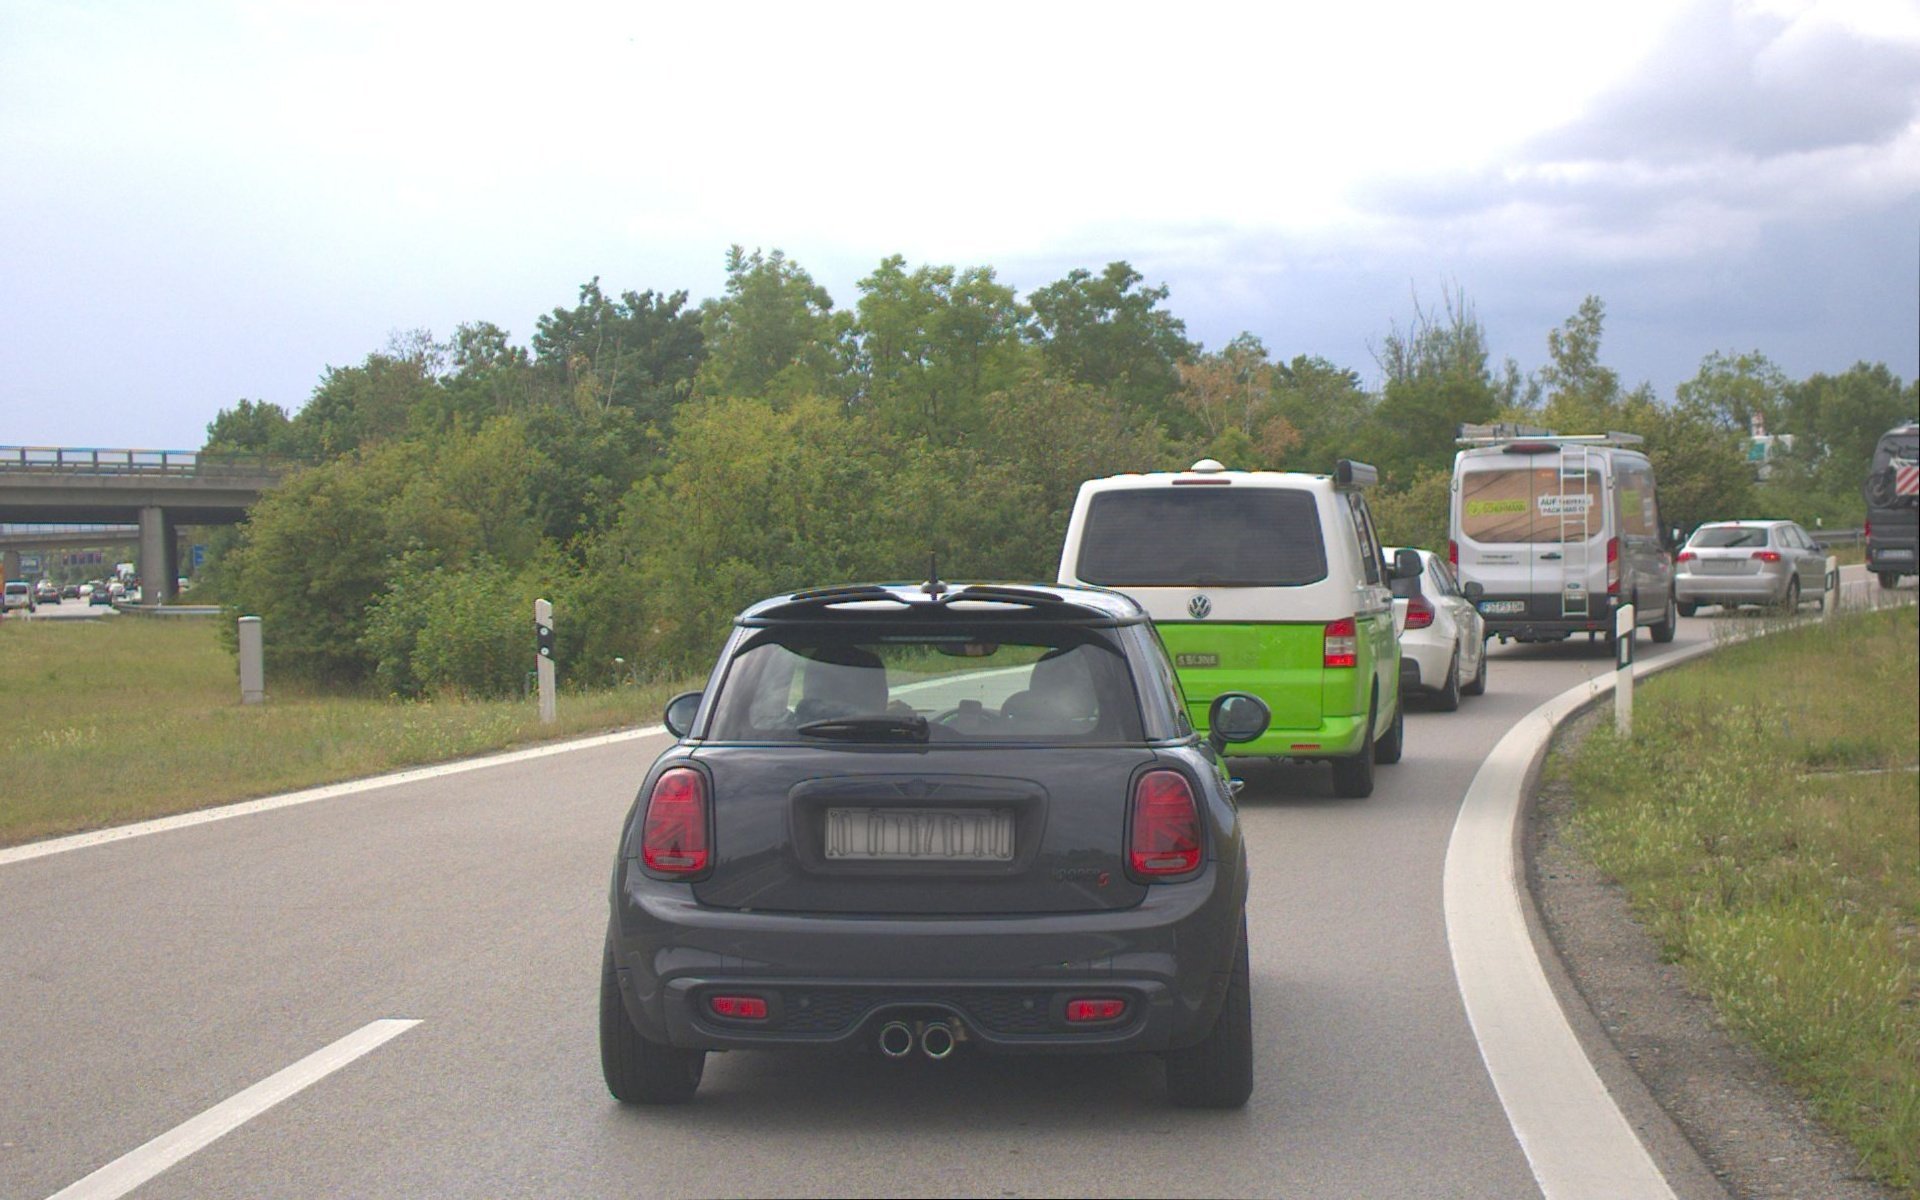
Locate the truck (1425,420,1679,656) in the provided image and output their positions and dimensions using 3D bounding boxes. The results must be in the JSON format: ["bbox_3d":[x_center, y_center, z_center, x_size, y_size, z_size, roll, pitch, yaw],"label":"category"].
[{"bbox_3d":[7.184,-0.751,41.291,2.180,2.649,5.104,0,1,19],"label":"truck"}]

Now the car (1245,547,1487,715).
[{"bbox_3d":[3.663,0.244,30.513,1.763,1.394,3.723,-1,0,12],"label":"car"}]

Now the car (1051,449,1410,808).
[{"bbox_3d":[1.774,0.138,21.370,1.785,2.007,3.998,0,0,11],"label":"car"}]

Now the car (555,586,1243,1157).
[{"bbox_3d":[-0.043,0.670,10.481,1.727,1.409,3.725,0,0,4],"label":"car"}]

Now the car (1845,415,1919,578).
[{"bbox_3d":[17.306,-1.797,60.798,2.108,2.787,3.993,1,1,31],"label":"car"}]

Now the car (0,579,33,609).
[{"bbox_3d":[-56.369,-0.349,204.729,1.876,1.745,4.488,-1,0,-11],"label":"car"}]

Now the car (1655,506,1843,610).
[{"bbox_3d":[11.959,-0.623,51.944,1.869,1.505,3.994,0,0,27],"label":"car"}]
